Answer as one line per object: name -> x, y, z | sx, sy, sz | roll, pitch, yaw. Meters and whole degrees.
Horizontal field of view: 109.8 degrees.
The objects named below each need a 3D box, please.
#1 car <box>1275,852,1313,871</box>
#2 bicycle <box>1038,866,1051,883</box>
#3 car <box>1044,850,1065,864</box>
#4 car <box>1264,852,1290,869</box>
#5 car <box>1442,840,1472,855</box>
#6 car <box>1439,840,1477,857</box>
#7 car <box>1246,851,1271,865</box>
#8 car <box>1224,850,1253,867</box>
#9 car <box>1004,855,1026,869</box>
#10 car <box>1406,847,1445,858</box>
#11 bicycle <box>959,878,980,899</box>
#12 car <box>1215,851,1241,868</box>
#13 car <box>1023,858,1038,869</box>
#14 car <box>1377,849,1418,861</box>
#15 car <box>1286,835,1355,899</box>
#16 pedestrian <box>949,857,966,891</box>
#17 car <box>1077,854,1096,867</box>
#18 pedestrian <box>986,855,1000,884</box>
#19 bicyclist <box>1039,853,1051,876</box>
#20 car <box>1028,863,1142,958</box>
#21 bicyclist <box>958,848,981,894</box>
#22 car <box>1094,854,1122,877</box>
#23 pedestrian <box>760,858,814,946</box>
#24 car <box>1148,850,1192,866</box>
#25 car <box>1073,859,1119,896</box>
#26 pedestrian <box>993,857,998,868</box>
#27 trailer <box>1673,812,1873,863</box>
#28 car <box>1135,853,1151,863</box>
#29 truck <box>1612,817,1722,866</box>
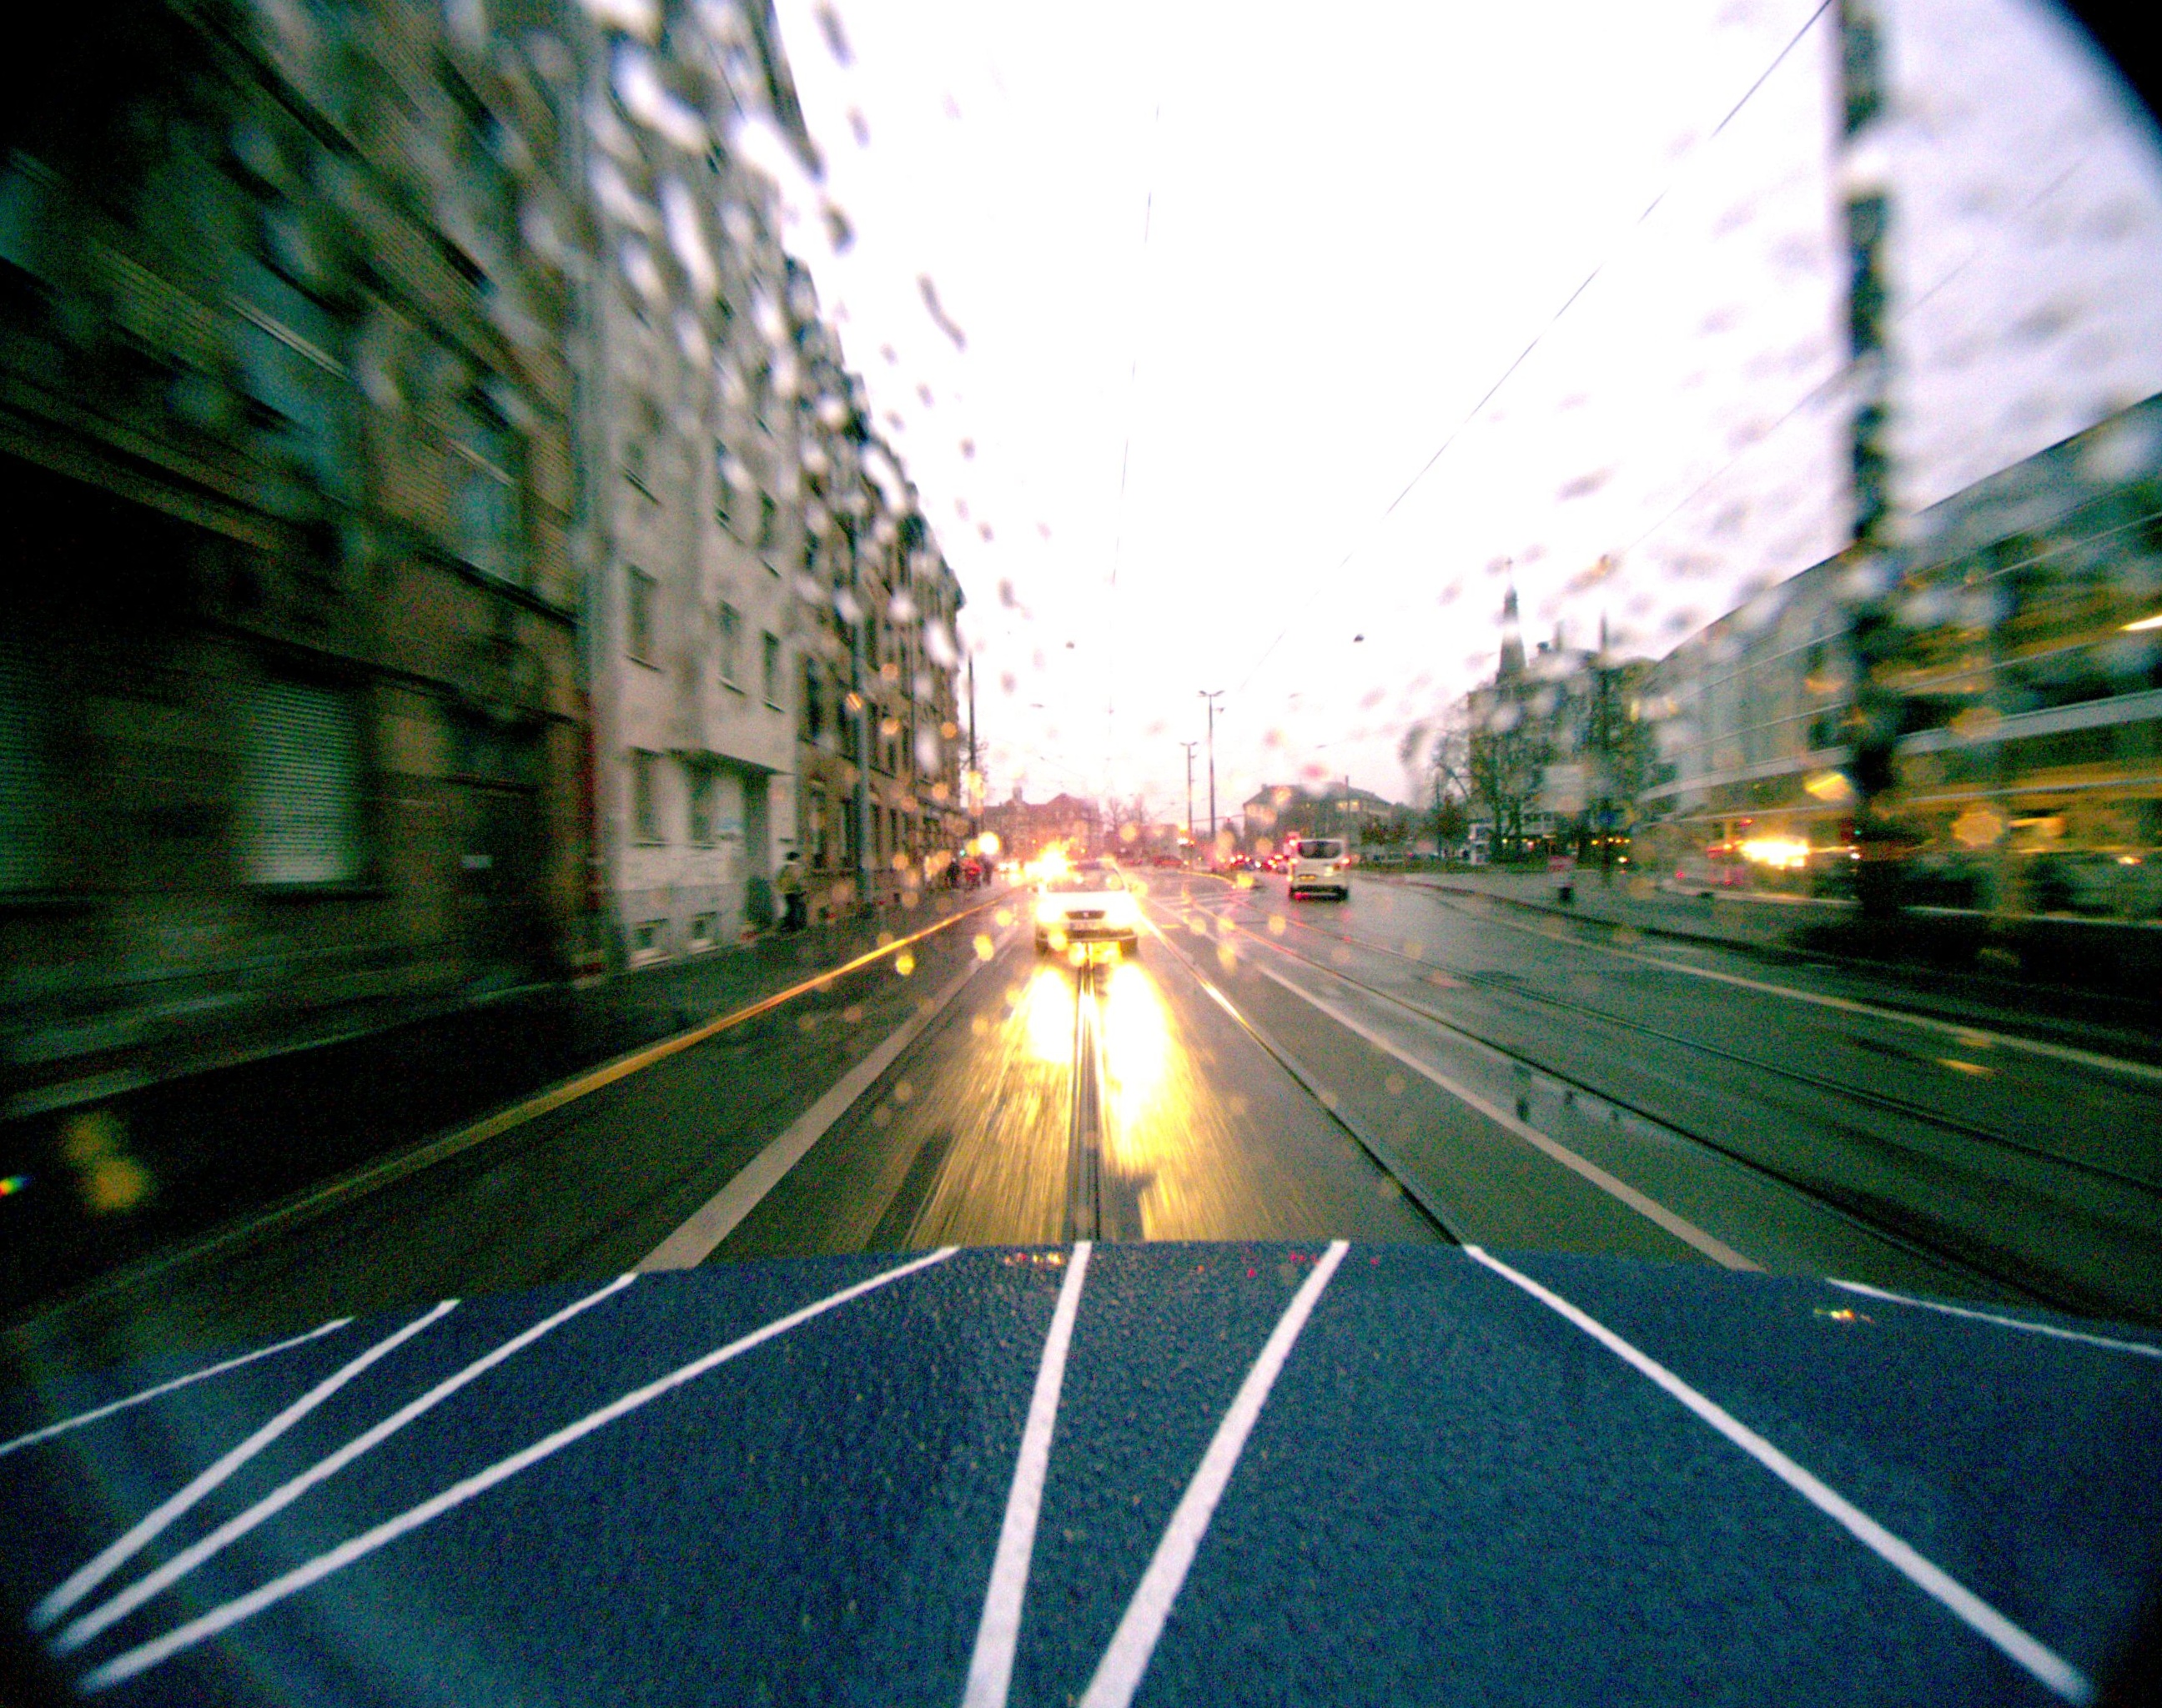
car -> 17.100, 0.592, 61.176 | 1.998, 1.413, 4.588 | -2, 0, 3
bicycle -> -2.374, 1.348, 50.148 | 0.725, 0.985, 2.212 | -2, 0, 0
car -> -3.750, 0.442, 107.372 | 2.021, 1.809, 3.683 | -2, 1, -18
car -> 17.547, 0.541, 68.142 | 1.604, 1.410, 3.472 | -2, 0, 3
car -> 56.297, -1.007, 113.783 | 3.990, 2.002, 2.003 | -2, 1, 27
car -> 49.898, -0.706, 100.686 | 2.003, 2.002, 3.990 | -3, 1, -36
car -> 17.686, 0.391, 75.857 | 1.728, 1.350, 4.000 | -2, 0, 3
car -> 13.860, 0.367, 66.997 | 1.876, 1.382, 4.001 | 0, 0, 3
car -> -8.970, 1.090, 103.977 | 1.997, 1.827, 4.873 | -2, 0, 6
car -> 43.654, -0.154, 96.241 | 2.003, 1.302, 3.990 | -3, 1, -36
bicycle -> -4.581, 1.408, 31.405 | 0.609, 0.757, 1.860 | -1, 1, -1
car -> 14.267, 0.518, 73.959 | 1.904, 1.477, 4.000 | -2, 0, 3
car -> -7.428, 1.433, 111.475 | 1.829, 1.499, 3.801 | -2, 0, -9
car -> 38.000, 0.090, 91.332 | 2.003, 1.302, 3.990 | -3, 1, -36
car -> 8.408, 0.388, 26.991 | 1.996, 2.002, 4.689 | -2, 1, 14
pedestrian -> -5.777, 0.917, 35.670 | 0.633, 1.539, 0.710 | -2, 1, -1
car -> 0.827, 0.986, 113.125 | 1.826, 1.922, 3.995 | -2, 0, -15
pedestrian -> -5.549, 0.967, 47.883 | 0.753, 1.814, 0.711 | -2, 1, 3
bicyclist -> -2.387, 0.696, 50.237 | 0.727, 1.525, 0.785 | -2, 1, 0
car -> 0.151, 0.942, 14.293 | 1.797, 1.415, 4.000 | -2, 0, 2
bicyclist -> -4.602, 0.683, 31.414 | 0.747, 1.869, 1.111 | -1, 1, -2
car -> 2.003, 0.816, 57.060 | 1.824, 1.565, 3.999 | -2, 0, -1
pedestrian -> -5.946, 0.948, 15.395 | 0.777, 1.734, 0.673 | -1, 1, 1
car -> 12.258, 0.493, 104.672 | 5.538, 2.002, 2.004 | -2, 1, 32
car -> 0.686, 0.952, 32.375 | 1.797, 1.415, 4.000 | -2, 0, 2
pedestrian -> -13.580, 1.285, 120.598 | 0.638, 1.752, 0.510 | -2, 1, -12
trailer -> 53.982, -1.315, 59.300 | 15.057, 3.398, 2.634 | -2, 1, -9
car -> 11.086, 0.738, 135.729 | 1.996, 1.543, 4.005 | -2, 1, 17
truck -> 44.537, -0.940, 57.813 | 6.756, 3.398, 2.655 | -2, 1, -9
